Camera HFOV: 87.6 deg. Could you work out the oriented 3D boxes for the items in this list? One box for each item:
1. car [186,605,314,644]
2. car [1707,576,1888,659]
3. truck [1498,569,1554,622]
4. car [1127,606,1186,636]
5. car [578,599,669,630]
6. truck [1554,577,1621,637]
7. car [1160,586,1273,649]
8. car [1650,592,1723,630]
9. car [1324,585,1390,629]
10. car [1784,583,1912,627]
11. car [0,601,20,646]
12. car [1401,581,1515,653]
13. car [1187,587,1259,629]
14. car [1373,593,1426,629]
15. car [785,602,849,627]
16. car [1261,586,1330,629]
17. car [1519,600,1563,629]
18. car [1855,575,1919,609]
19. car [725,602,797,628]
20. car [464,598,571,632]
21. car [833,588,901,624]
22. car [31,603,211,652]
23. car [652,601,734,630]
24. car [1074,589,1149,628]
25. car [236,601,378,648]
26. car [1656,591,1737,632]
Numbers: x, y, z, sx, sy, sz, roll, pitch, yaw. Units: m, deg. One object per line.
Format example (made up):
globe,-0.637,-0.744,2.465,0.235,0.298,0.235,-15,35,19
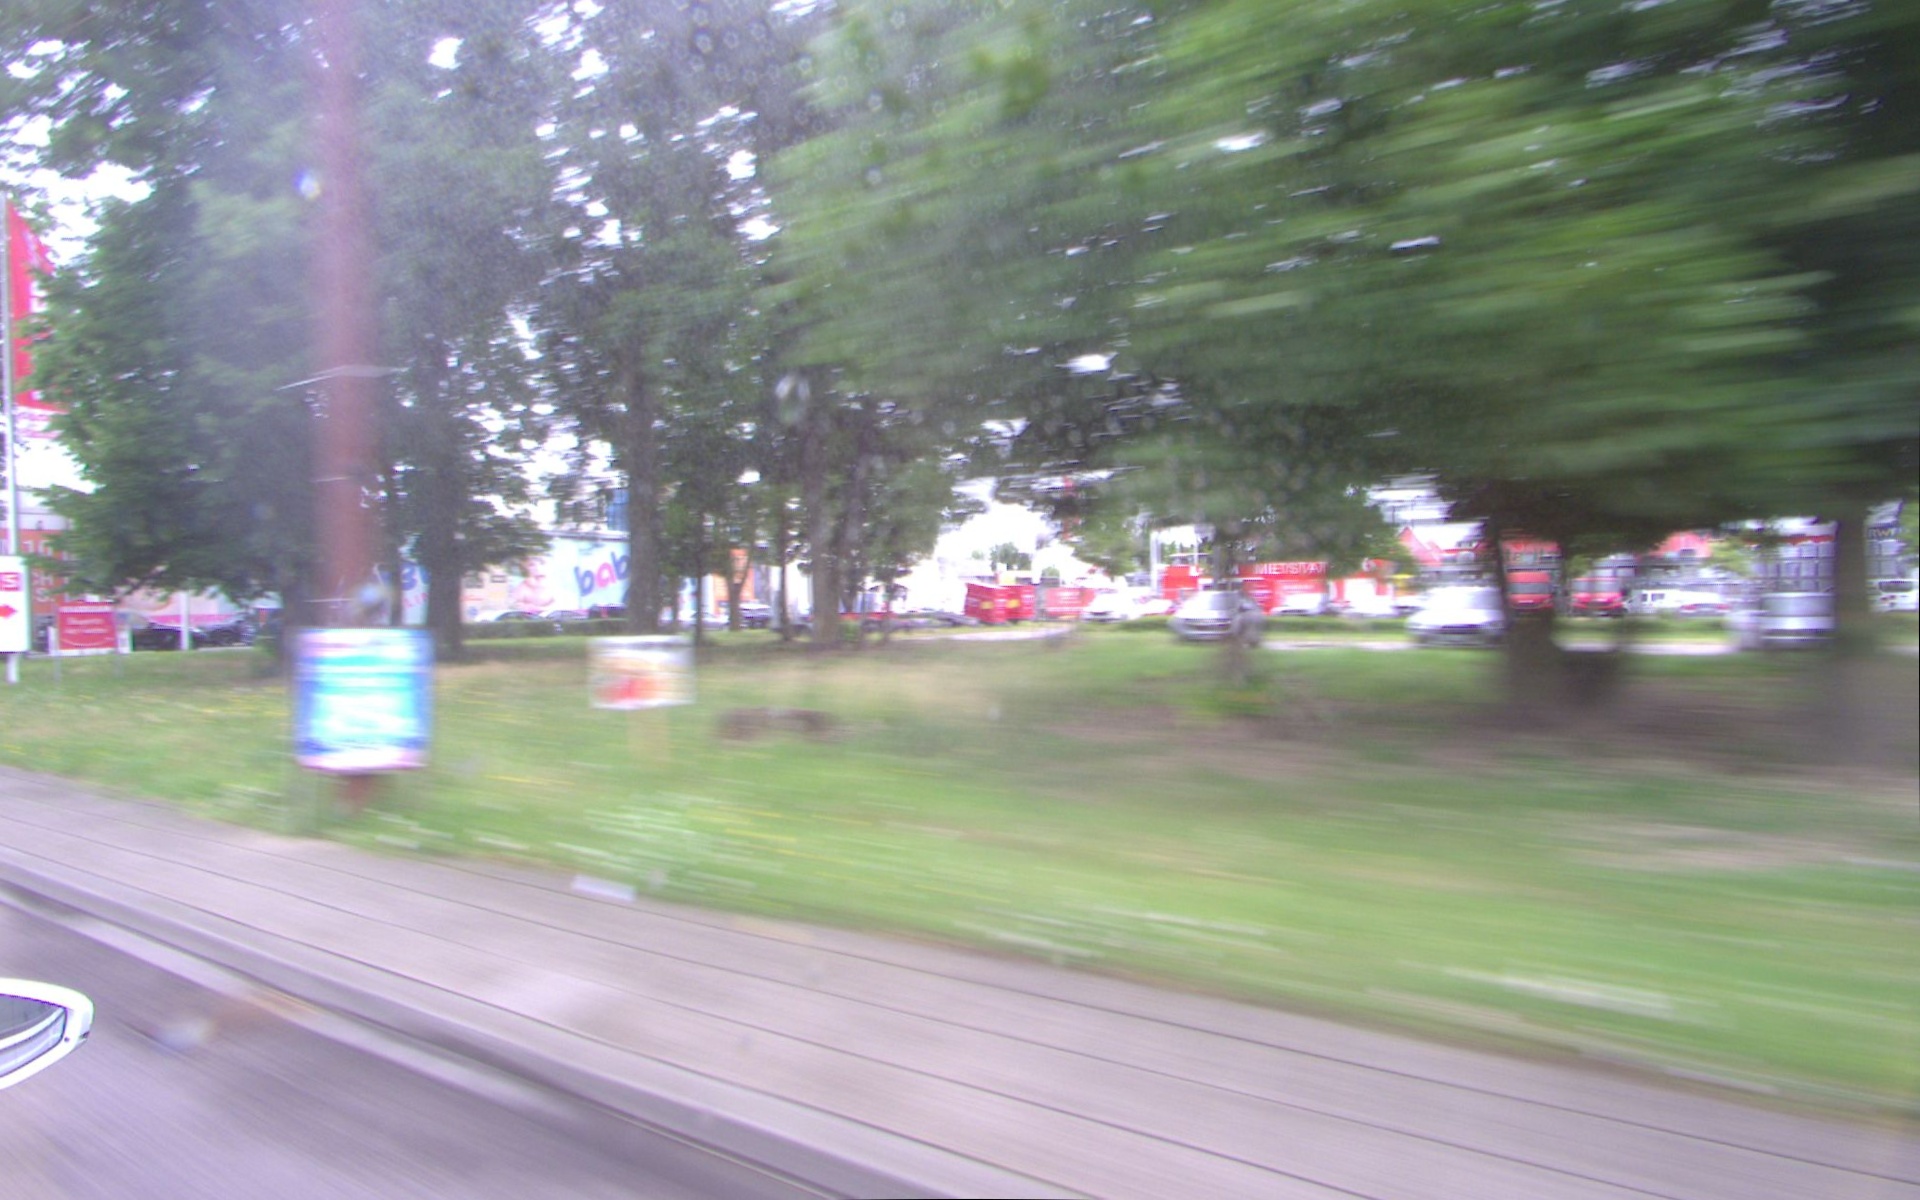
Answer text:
car,-33.496,1.123,47.357,2.053,1.699,4.539,-1,0,35
car,17.153,0.401,20.774,1.901,1.516,4.443,-1,-2,27
truck,30.562,-0.247,54.263,2.447,2.670,7.850,-1,0,28
car,11.359,1.196,57.694,2.122,1.577,4.549,-1,0,27
car,-18.679,0.790,55.763,2.043,1.593,4.544,-1,0,31
truck,32.507,0.316,52.097,2.447,2.853,7.850,-1,0,28
car,6.864,0.493,26.455,1.929,1.516,4.530,-1,-2,27
car,34.842,0.510,48.162,2.121,1.699,4.550,-1,0,27
car,16.218,0.249,40.797,2.121,1.699,4.550,-1,0,27
car,36.590,0.193,41.428,2.116,1.699,4.562,-1,0,15
car,-38.193,0.921,37.461,1.968,1.699,4.194,0,1,39
car,11.872,0.436,23.684,2.138,1.516,4.670,-1,-2,30
car,11.476,0.328,43.431,2.121,1.699,4.550,-1,0,27
car,21.983,0.523,49.998,2.122,1.699,4.549,-1,0,27
car,-9.993,0.992,70.178,2.043,1.593,4.544,-1,0,31
car,14.076,0.288,41.876,2.121,1.699,4.550,-1,0,27
car,36.278,0.895,62.615,2.121,1.699,4.550,-1,0,27
car,50.060,-0.432,53.551,2.121,1.699,4.550,-1,0,27
car,-12.889,0.962,64.999,2.043,1.593,4.544,-1,0,31
car,-22.074,0.707,50.135,2.043,1.593,4.544,-1,0,31
car,-6.946,0.434,75.516,2.043,2.571,5.731,0,1,31
car,-29.948,0.939,35.881,1.964,1.593,4.544,-1,0,31
car,-15.953,0.904,60.038,2.043,1.593,4.544,-1,0,31
car,7.033,0.376,46.154,2.121,1.699,4.550,-1,0,27
car,-27.066,0.955,41.651,2.043,1.814,4.544,1,1,31
car,32.397,0.461,44.203,2.121,1.699,4.550,-1,0,27
